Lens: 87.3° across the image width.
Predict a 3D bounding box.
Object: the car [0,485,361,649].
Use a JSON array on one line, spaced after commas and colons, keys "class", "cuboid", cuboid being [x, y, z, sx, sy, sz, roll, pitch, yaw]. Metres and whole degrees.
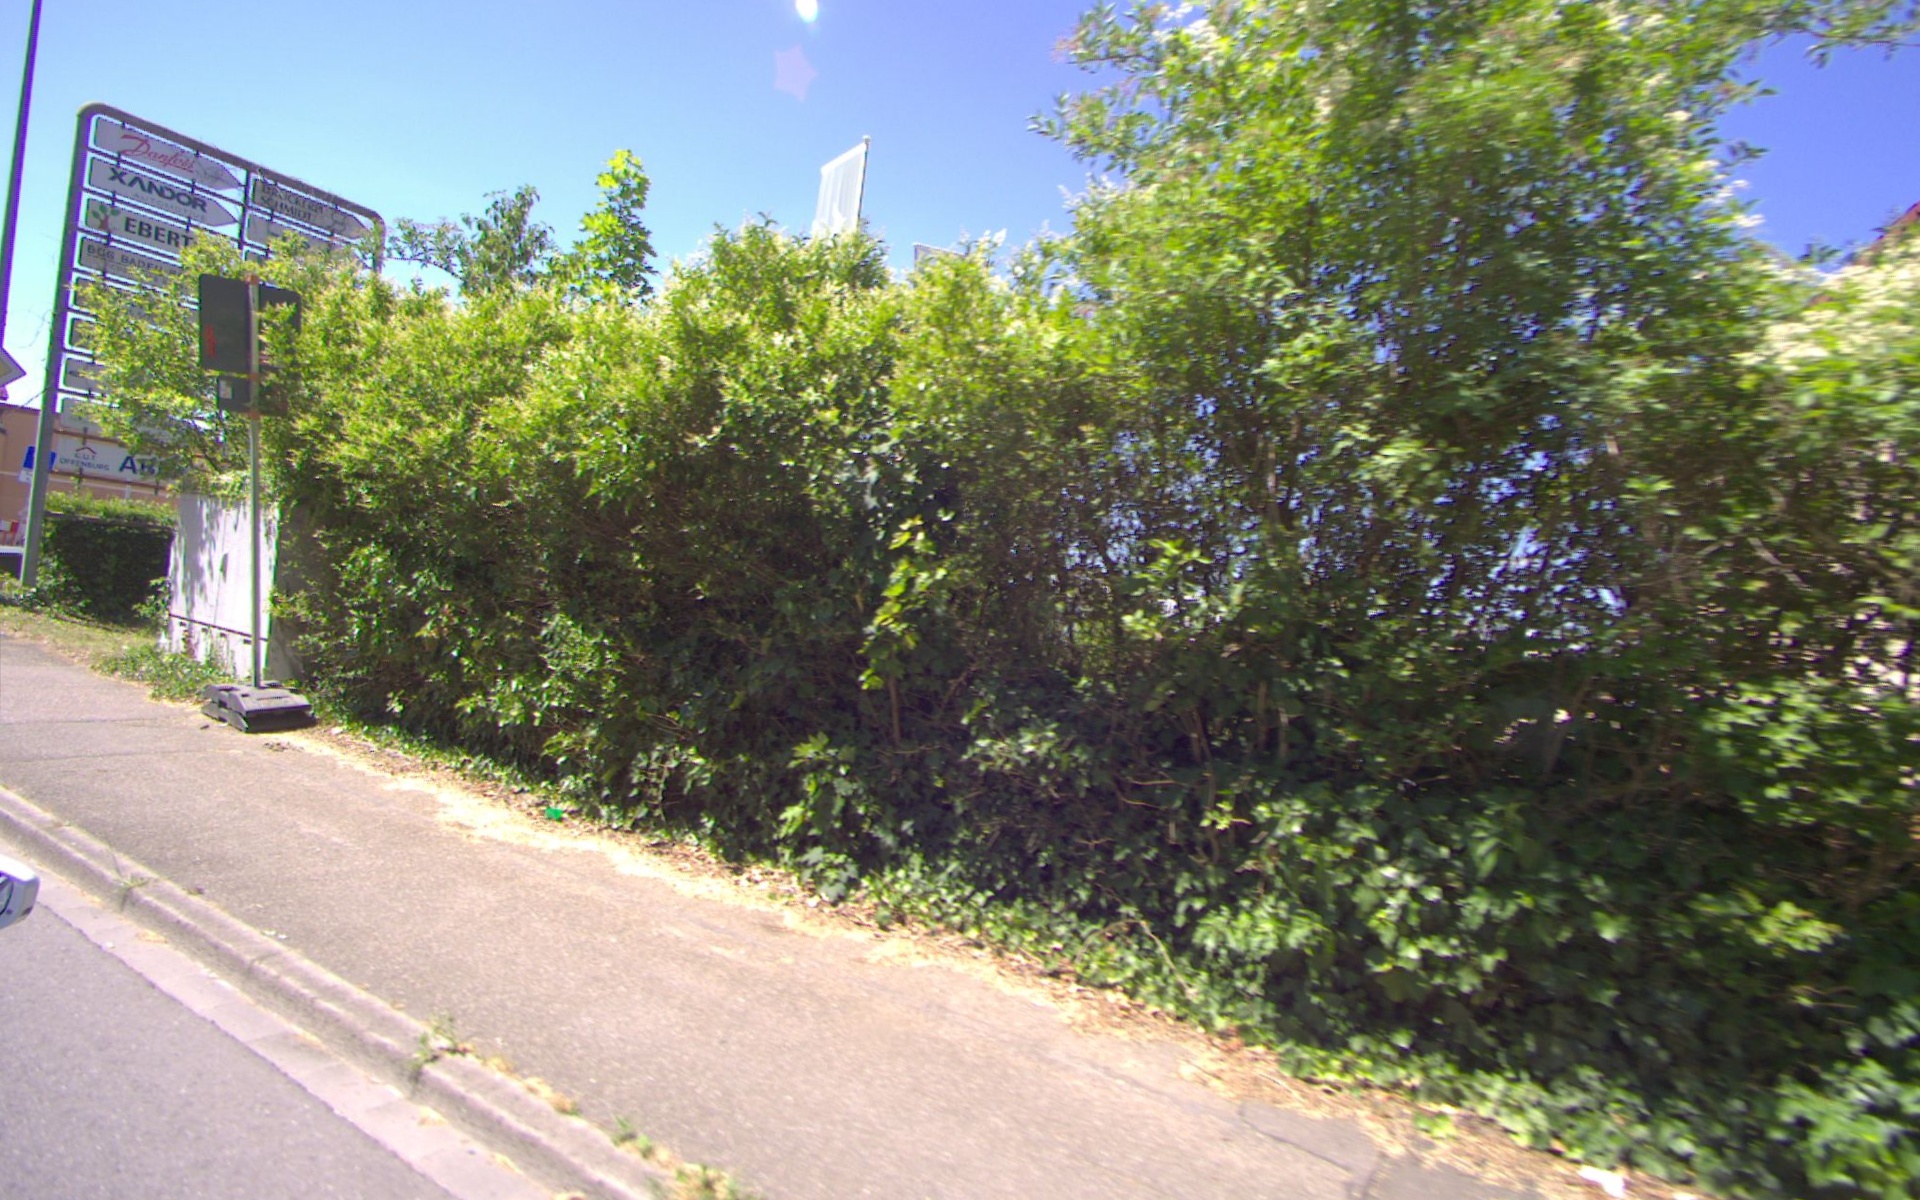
[{"class": "car", "cuboid": [-11.882, -0.404, 15.487, 1.832, 1.527, 4.072, 3, -9, 43]}]
